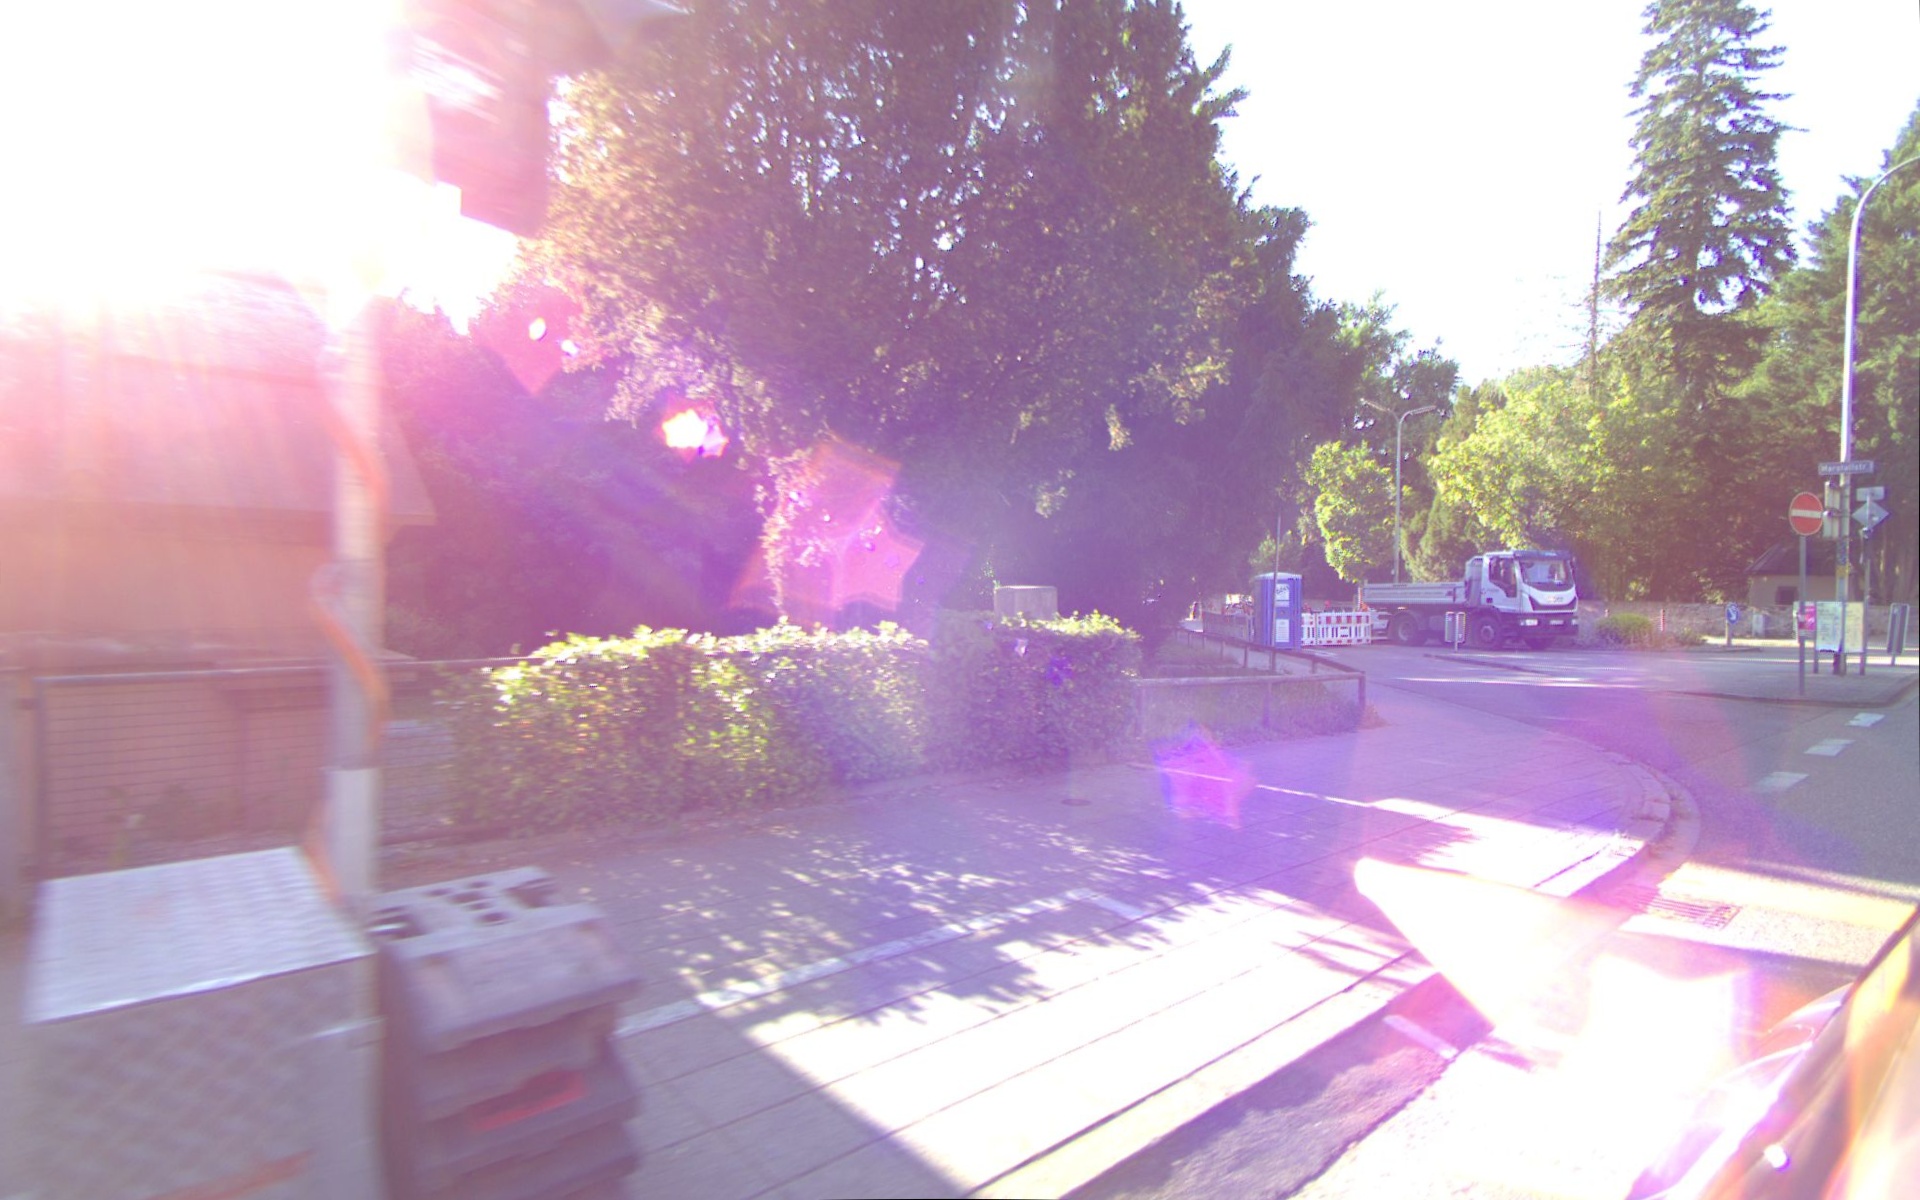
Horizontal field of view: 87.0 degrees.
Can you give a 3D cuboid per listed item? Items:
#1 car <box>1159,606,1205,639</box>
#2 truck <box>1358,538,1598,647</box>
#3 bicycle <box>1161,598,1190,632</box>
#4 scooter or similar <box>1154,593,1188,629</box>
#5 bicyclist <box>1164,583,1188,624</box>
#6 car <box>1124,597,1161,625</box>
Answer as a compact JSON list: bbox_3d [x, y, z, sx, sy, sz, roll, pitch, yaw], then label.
[{"bbox_3d":[14.443,1.429,66.113,1.961,2.039,4.002,0,0,-3],"label":"car"},{"bbox_3d":[15.438,-0.201,30.797,2.382,2.932,6.621,0,0,-20],"label":"truck"},{"bbox_3d":[8.334,0.566,39.179,0.750,1.222,2.836,4,1,7],"label":"bicycle"},{"bbox_3d":[8.565,0.433,41.171,1.135,1.341,1.179,6,1,7],"label":"scooter or similar"},{"bbox_3d":[8.348,0.125,39.078,0.747,1.504,0.643,4,0,7],"label":"bicyclist"},{"bbox_3d":[13.611,0.787,75.590,1.961,2.039,4.001,0,0,-1],"label":"car"}]
